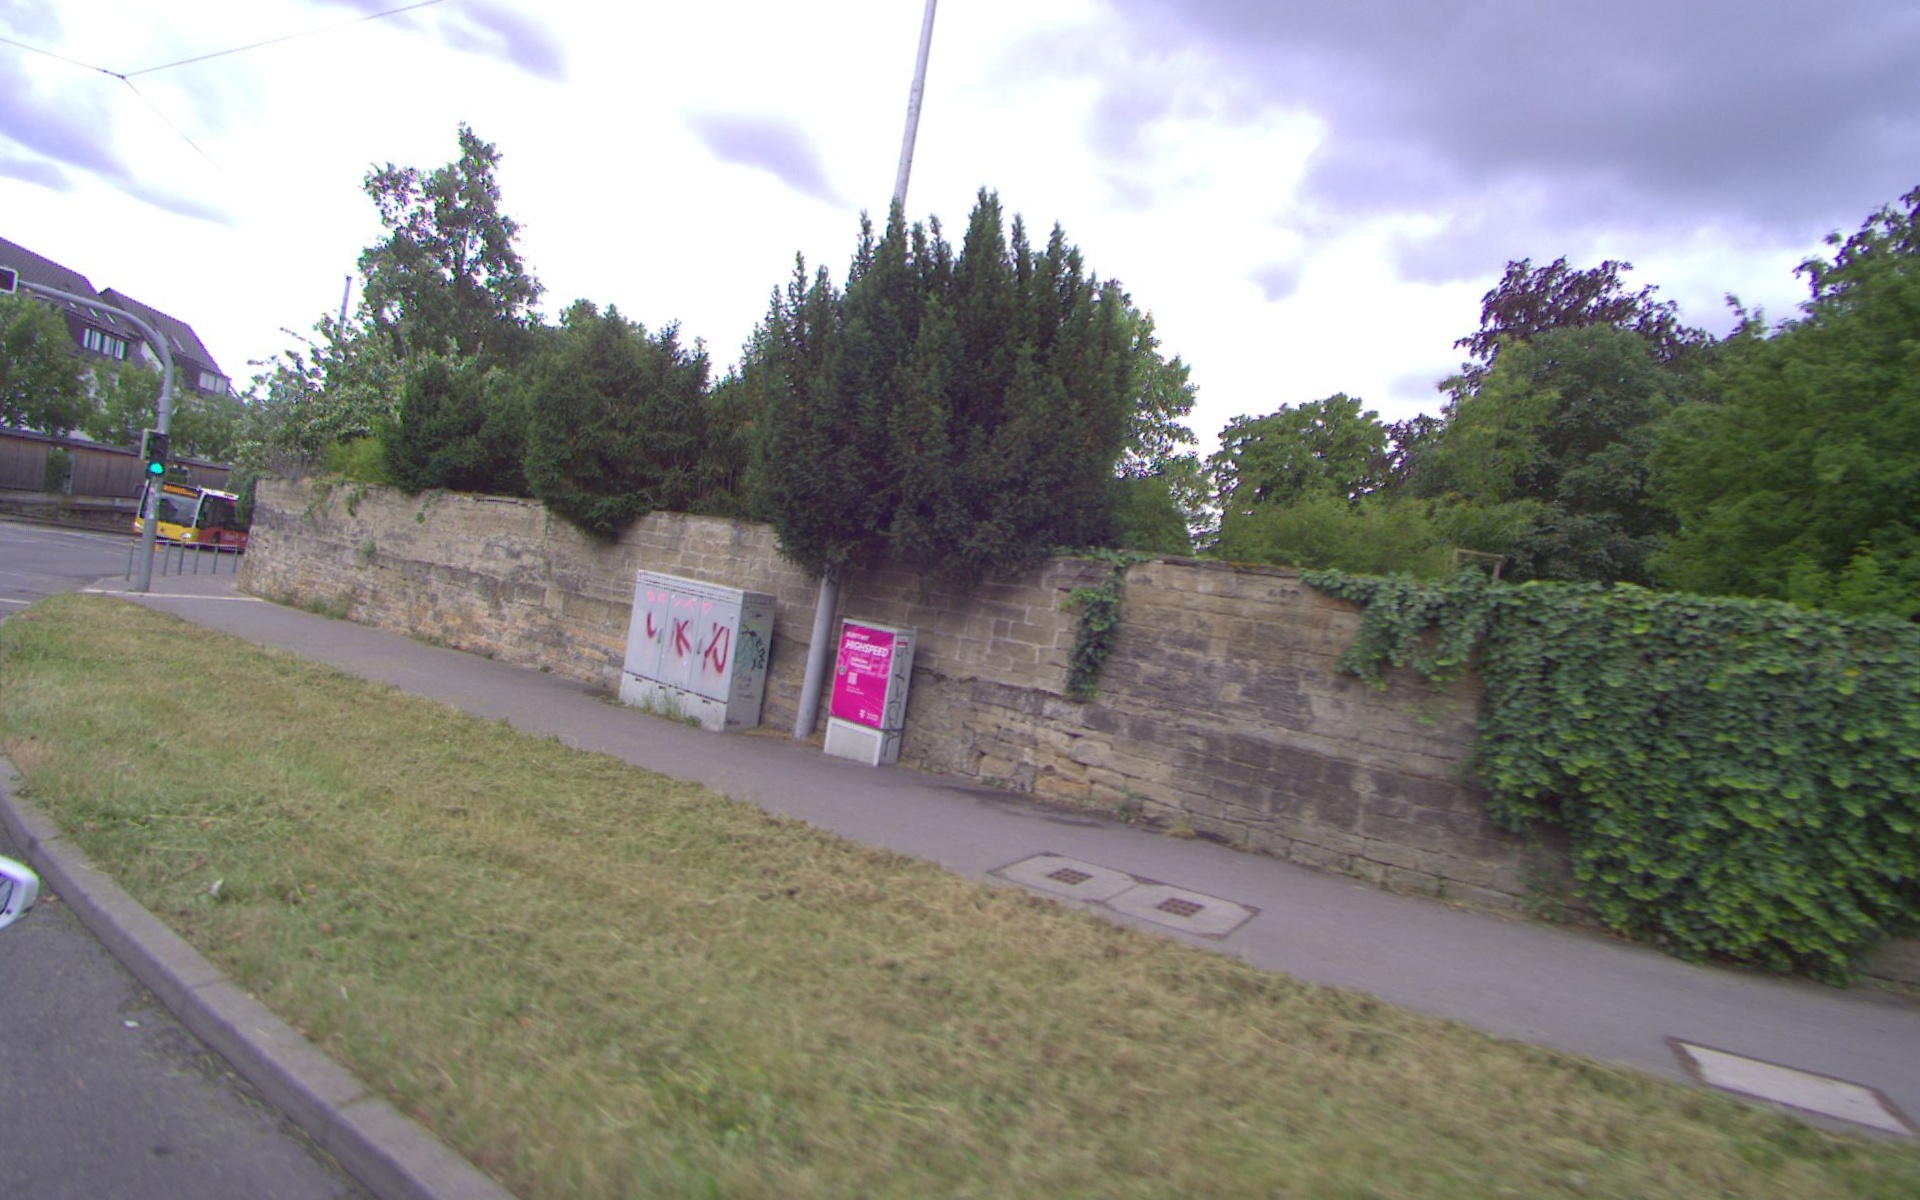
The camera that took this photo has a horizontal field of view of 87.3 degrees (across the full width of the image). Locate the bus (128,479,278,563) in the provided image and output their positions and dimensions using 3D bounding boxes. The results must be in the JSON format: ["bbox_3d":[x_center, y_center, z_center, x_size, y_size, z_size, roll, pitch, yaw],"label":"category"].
[{"bbox_3d":[-39.294,-3.922,52.719,2.630,3.154,9.985,11,-3,-17],"label":"bus"}]

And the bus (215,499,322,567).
[{"bbox_3d":[-41.998,-3.963,61.440,2.630,3.154,8.265,11,-3,-17],"label":"bus"}]
